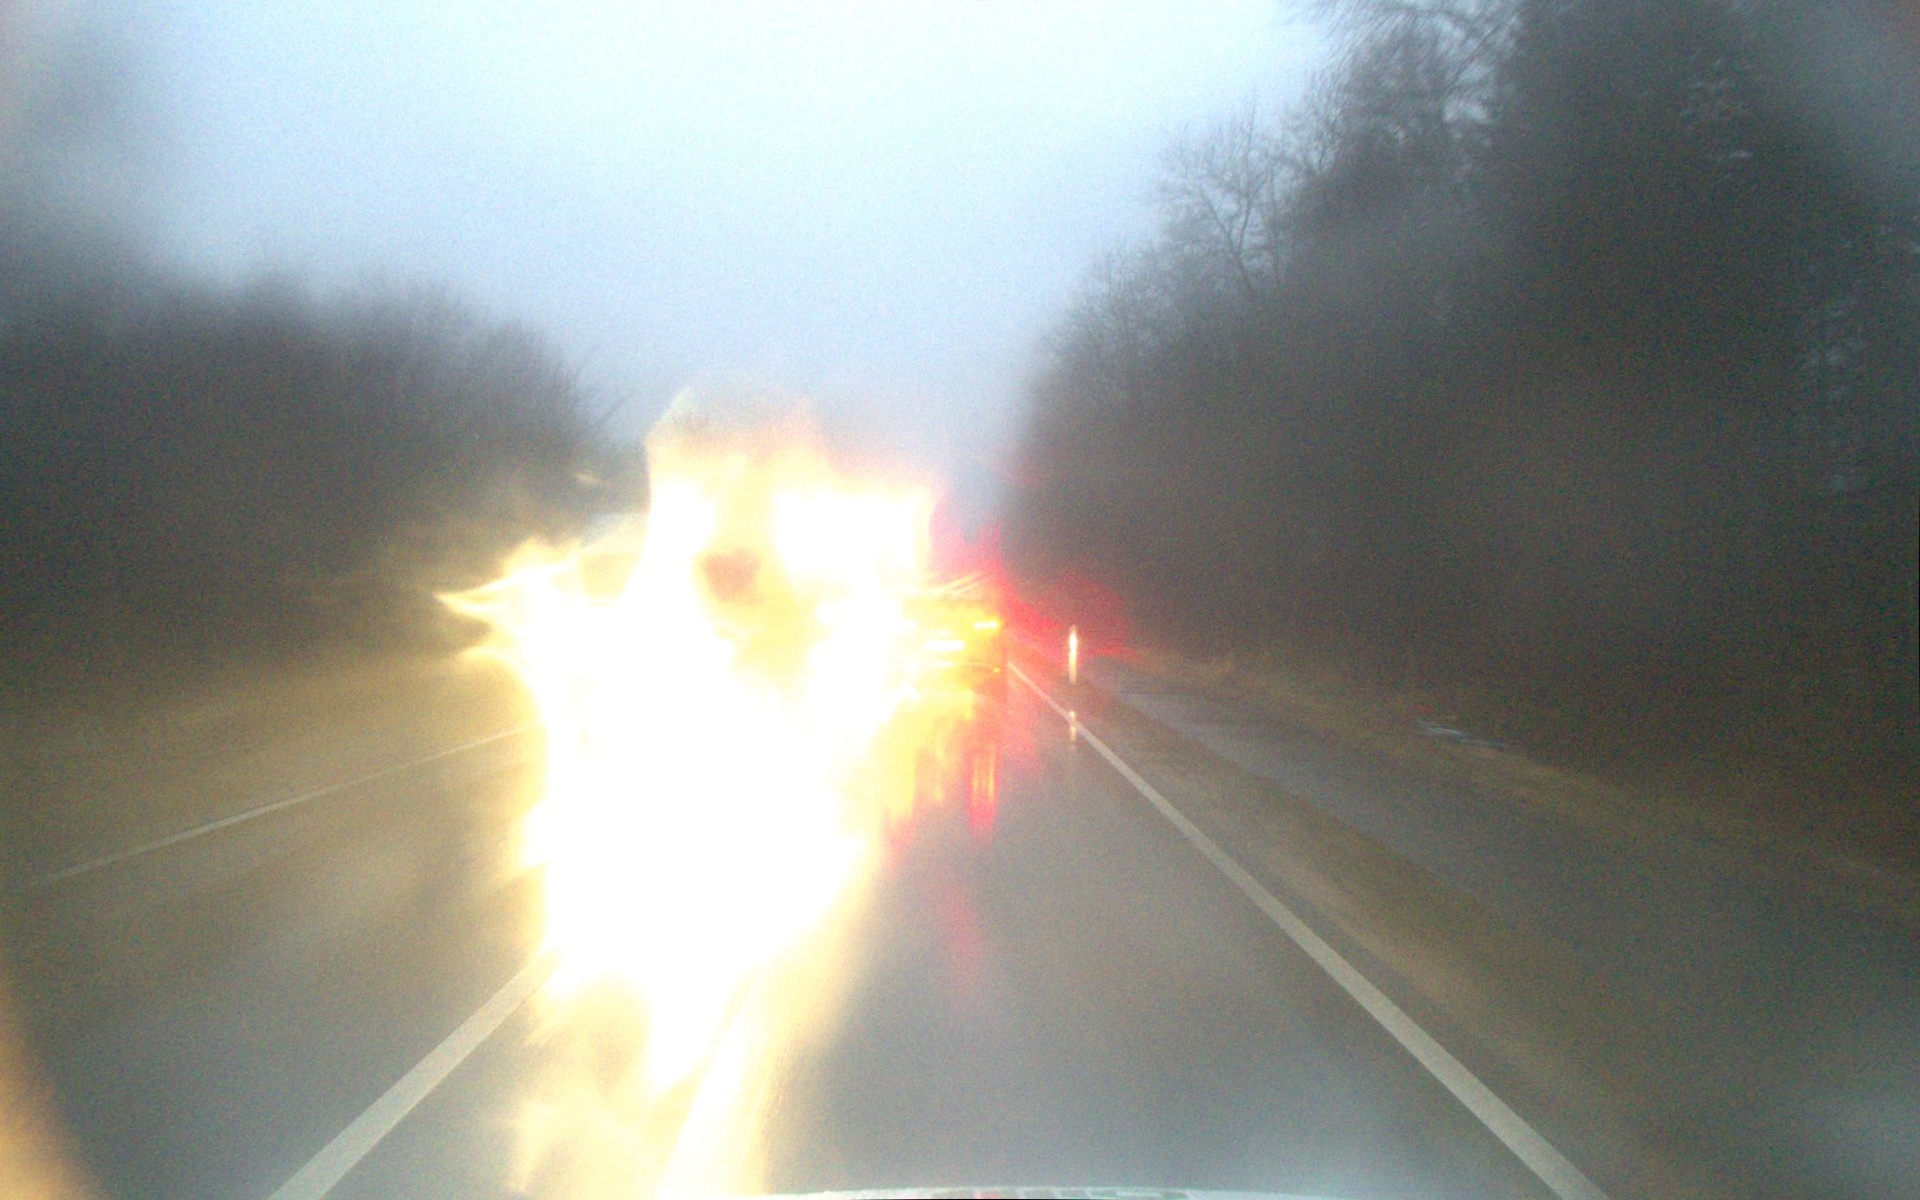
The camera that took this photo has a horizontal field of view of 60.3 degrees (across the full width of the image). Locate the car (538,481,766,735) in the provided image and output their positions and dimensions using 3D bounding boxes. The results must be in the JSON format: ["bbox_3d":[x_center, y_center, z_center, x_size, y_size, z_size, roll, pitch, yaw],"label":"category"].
[{"bbox_3d":[-3.879,0.109,22.095,2.032,2.860,6.649,1,0,-2],"label":"car"}]

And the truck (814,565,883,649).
[{"bbox_3d":[-3.963,0.243,59.634,2.060,2.820,6.870,1,0,-1],"label":"truck"}]

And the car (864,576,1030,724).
[{"bbox_3d":[-0.216,0.678,24.332,2.153,1.910,4.825,1,0,-1],"label":"car"}]
